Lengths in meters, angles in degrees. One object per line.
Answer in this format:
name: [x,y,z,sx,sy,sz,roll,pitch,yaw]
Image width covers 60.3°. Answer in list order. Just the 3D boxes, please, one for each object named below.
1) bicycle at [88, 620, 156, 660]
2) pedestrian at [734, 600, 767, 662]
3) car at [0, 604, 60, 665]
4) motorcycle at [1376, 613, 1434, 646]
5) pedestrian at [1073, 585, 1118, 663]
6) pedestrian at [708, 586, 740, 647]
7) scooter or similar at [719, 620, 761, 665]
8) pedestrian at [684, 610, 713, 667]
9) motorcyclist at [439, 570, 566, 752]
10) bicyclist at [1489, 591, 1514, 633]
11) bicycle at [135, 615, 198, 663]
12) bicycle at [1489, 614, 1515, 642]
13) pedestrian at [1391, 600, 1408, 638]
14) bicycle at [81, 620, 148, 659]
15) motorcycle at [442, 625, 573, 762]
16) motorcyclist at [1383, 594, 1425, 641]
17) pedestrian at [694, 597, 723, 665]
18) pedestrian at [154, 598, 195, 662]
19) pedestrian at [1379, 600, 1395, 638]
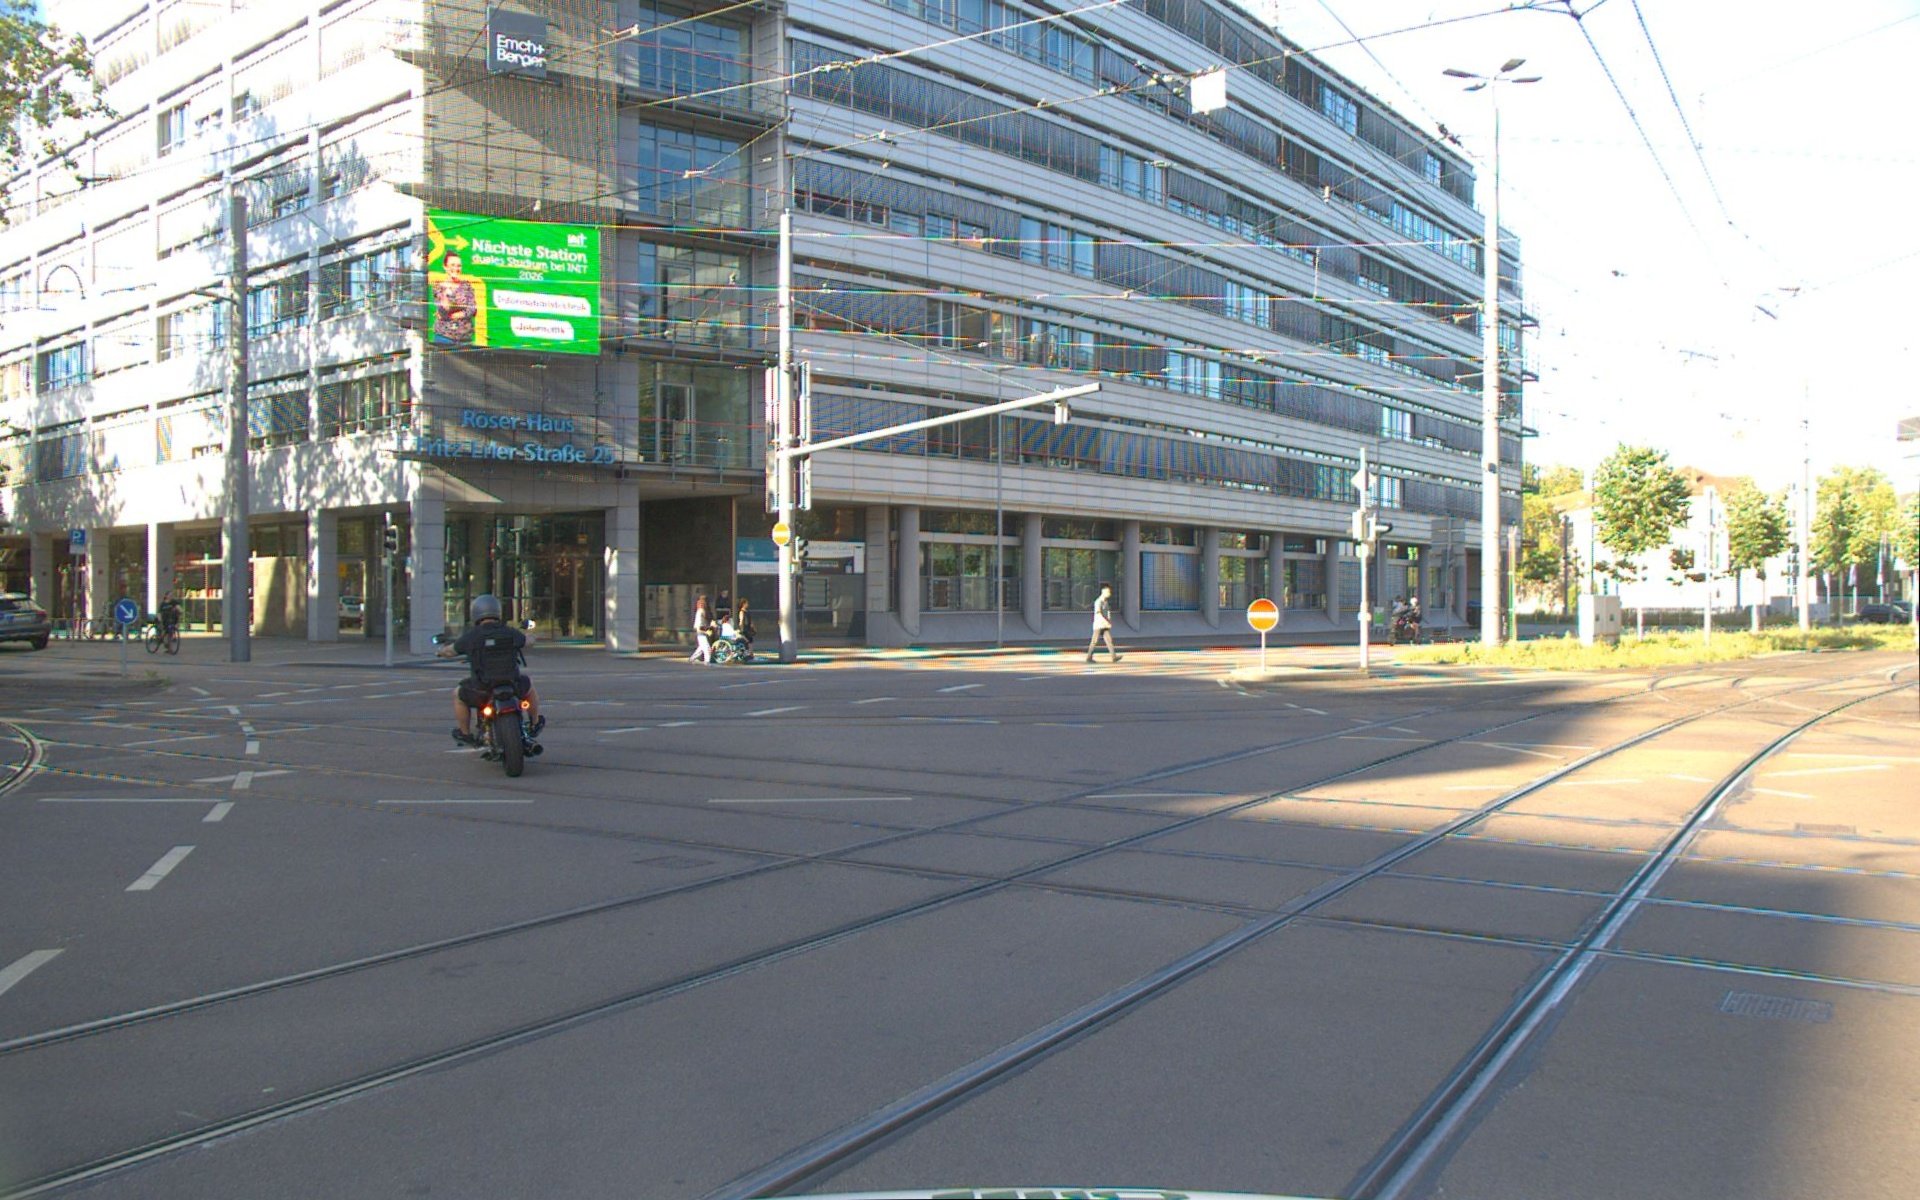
bicycle: [-25.578,1.208,50.494,0.461,1.172,1.831,0,0,37]
pedestrian: [-5.535,0.821,43.711,0.705,1.646,0.655,0,-2,8]
car: [-27.089,0.942,46.049,4.325,1.600,1.859,-1,1,35]
motorcycle: [16.919,1.126,62.820,0.969,1.253,2.926,-1,-2,41]
pedestrian: [3.288,0.592,40.092,0.867,1.855,0.674,-2,-3,36]
pedestrian: [-6.780,0.484,47.520,0.634,1.745,0.686,-1,-2,43]
scooter or similar: [-5.651,1.092,42.485,0.994,1.149,0.550,0,-1,1]
pedestrian: [-6.559,0.964,41.501,0.623,1.426,0.546,0,-1,1]
motorcyclist: [-4.191,0.537,15.079,1.007,1.579,1.279,1,-1,-19]
bicyclist: [21.940,0.496,67.012,0.750,1.696,0.991,0,-1,32]
bicycle: [-20.720,1.010,43.184,1.809,1.184,0.611,1,2,33]
bicycle: [21.954,1.120,66.994,0.631,1.127,1.680,0,-1,32]
pedestrian: [20.179,0.877,75.972,0.539,1.764,0.639,-1,-2,36]
bicycle: [-25.949,1.202,50.781,0.461,1.172,1.831,0,0,37]
motorcycle: [-4.178,0.840,15.150,0.990,1.145,2.310,1,-3,-19]
motorcyclist: [16.842,0.676,62.744,1.003,1.761,1.452,-1,-2,41]
pedestrian: [-6.467,0.788,42.494,0.623,1.738,0.581,0,-1,1]
pedestrian: [-20.600,0.783,43.355,0.819,1.639,0.605,1,2,32]
pedestrian: [19.693,0.868,76.302,0.539,1.764,0.639,-1,-2,36]
